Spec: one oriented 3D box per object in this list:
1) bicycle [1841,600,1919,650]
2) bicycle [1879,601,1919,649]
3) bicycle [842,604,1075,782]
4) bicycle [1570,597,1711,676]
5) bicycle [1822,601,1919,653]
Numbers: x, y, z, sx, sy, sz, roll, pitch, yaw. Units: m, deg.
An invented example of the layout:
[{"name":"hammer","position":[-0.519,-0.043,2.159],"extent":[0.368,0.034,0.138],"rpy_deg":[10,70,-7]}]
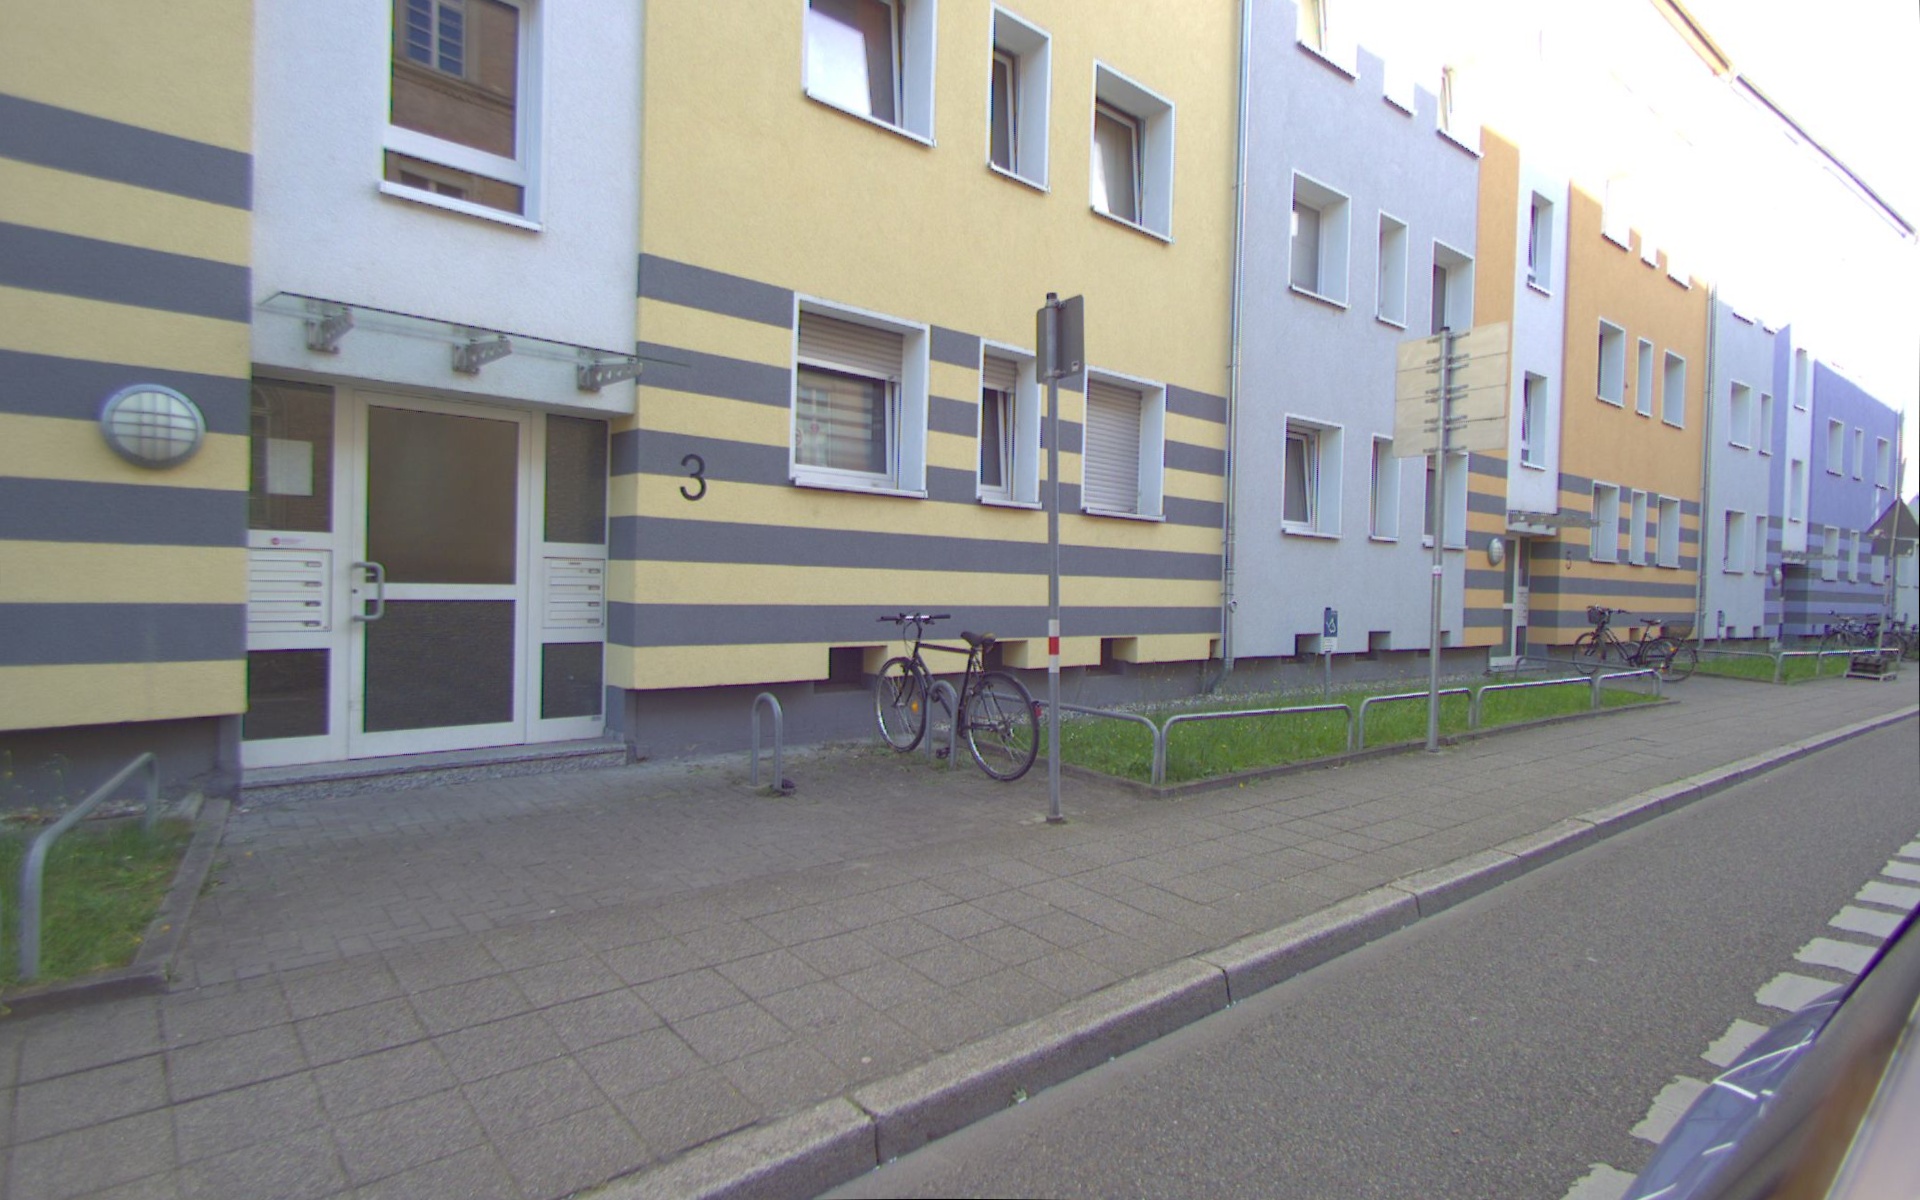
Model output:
[{"name":"bicycle","position":[23.318,0.622,25.429],"extent":[0.475,1.166,1.678],"rpy_deg":[1,1,-37]},{"name":"bicycle","position":[24.146,0.634,25.286],"extent":[0.475,1.166,1.678],"rpy_deg":[1,1,-37]},{"name":"bicycle","position":[-0.064,0.577,7.026],"extent":[1.775,1.031,0.476],"rpy_deg":[3,1,44]},{"name":"bicycle","position":[10.698,0.547,15.954],"extent":[1.775,1.137,0.476],"rpy_deg":[3,1,44]},{"name":"bicycle","position":[22.237,0.640,24.737],"extent":[0.475,1.166,1.678],"rpy_deg":[1,1,-37]}]
